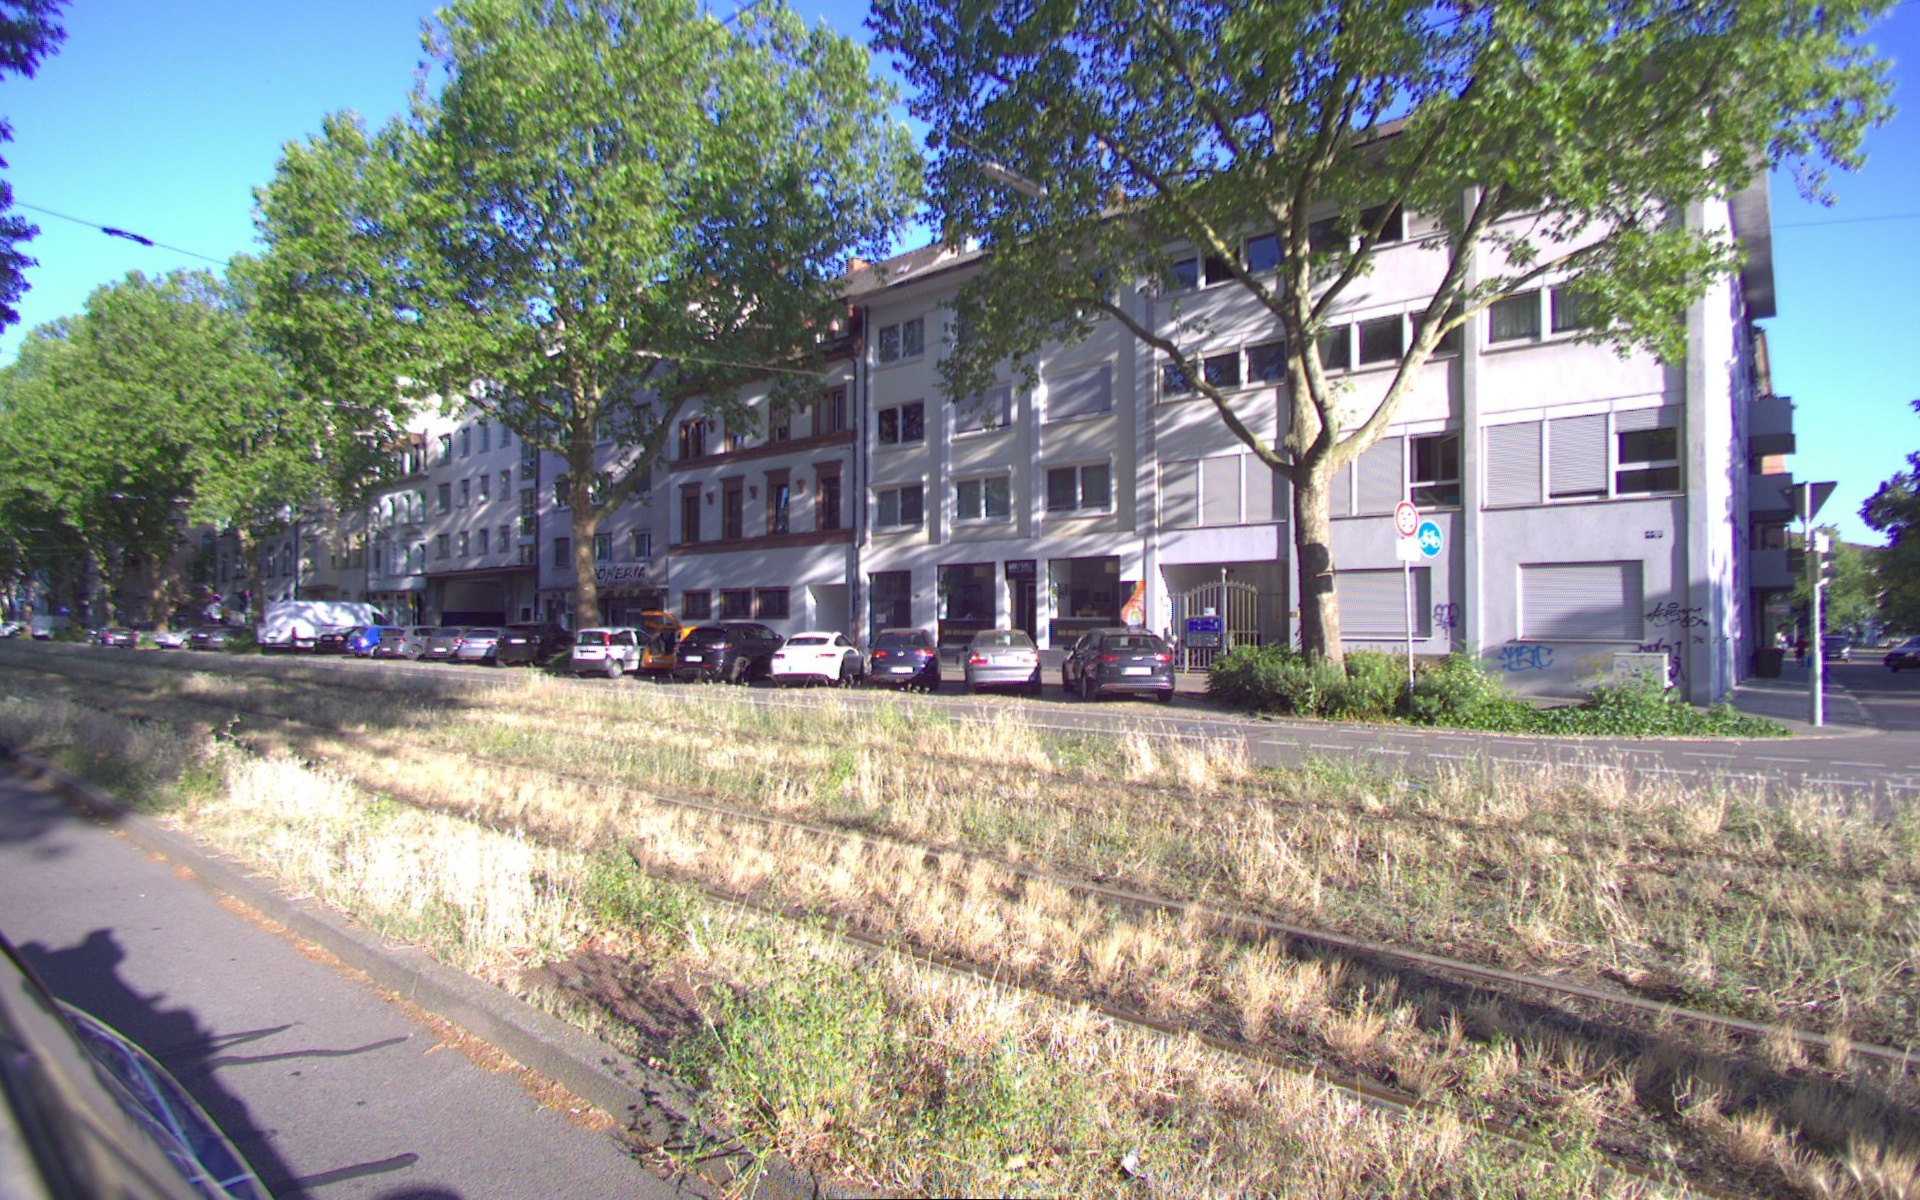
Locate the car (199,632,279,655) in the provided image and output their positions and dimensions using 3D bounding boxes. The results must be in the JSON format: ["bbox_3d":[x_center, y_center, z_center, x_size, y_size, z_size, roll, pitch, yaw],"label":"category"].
[{"bbox_3d":[-43.001,2.602,60.451,1.778,1.368,4.002,0,-3,3],"label":"car"}]

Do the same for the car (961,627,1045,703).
[{"bbox_3d":[0.901,1.418,23.282,1.698,1.452,4.000,-1,0,-1],"label":"car"}]

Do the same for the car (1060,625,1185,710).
[{"bbox_3d":[3.296,1.334,21.292,1.791,1.490,4.002,-1,0,-2],"label":"car"}]

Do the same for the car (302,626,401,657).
[{"bbox_3d":[-30.744,2.079,51.262,1.984,1.502,3.975,-1,-2,18],"label":"car"}]

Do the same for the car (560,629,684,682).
[{"bbox_3d":[-10.461,1.677,31.700,1.643,1.460,4.345,0,-1,14],"label":"car"}]

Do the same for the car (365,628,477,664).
[{"bbox_3d":[-23.601,1.994,44.440,1.941,1.503,3.964,-1,-2,27],"label":"car"}]

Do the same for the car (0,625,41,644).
[{"bbox_3d":[-107.381,3.905,115.160,1.971,2.029,4.002,-1,0,-2],"label":"car"}]

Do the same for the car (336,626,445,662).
[{"bbox_3d":[-25.928,1.972,46.169,1.854,1.431,3.951,-1,0,36],"label":"car"}]

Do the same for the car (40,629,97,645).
[{"bbox_3d":[-86.016,3.563,97.694,1.709,1.256,3.993,-1,1,6],"label":"car"}]

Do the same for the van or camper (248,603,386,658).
[{"bbox_3d":[-33.109,1.565,52.372,2.162,2.666,5.929,-1,-2,19],"label":"van or camper"}]

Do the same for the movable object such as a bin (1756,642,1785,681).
[{"bbox_3d":[27.826,2.108,34.745,0.745,1.315,0.861,-1,-2,39],"label":"movable object such as a bin"}]

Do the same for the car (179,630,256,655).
[{"bbox_3d":[-47.728,2.746,65.180,1.803,1.545,3.994,0,-3,4],"label":"car"}]

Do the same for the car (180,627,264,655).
[{"bbox_3d":[-45.529,2.571,62.552,1.912,1.605,4.155,0,-4,4],"label":"car"}]

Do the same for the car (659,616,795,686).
[{"bbox_3d":[-6.458,1.453,28.610,1.975,1.800,4.343,1,-3,14],"label":"car"}]

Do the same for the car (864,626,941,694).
[{"bbox_3d":[-1.439,1.454,25.686,1.776,1.452,4.002,-1,0,-3],"label":"car"}]

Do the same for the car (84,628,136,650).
[{"bbox_3d":[-56.621,2.607,67.385,4.480,1.400,1.802,-1,-4,40],"label":"car"}]

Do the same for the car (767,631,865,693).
[{"bbox_3d":[-3.693,1.567,26.691,1.700,1.343,4.200,-1,0,4],"label":"car"}]

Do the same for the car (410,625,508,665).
[{"bbox_3d":[-20.538,1.819,41.673,1.735,1.433,3.993,-1,0,6],"label":"car"}]

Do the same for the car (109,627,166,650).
[{"bbox_3d":[-63.509,2.987,78.212,1.703,1.666,4.008,0,-2,-10],"label":"car"}]

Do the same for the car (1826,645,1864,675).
[{"bbox_3d":[63.361,4.280,72.471,1.999,2.029,3.945,-1,-2,41],"label":"car"}]

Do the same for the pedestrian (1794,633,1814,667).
[{"bbox_3d":[44.196,2.589,52.990,0.686,1.764,0.636,-1,-2,31],"label":"pedestrian"}]

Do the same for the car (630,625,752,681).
[{"bbox_3d":[-8.360,1.610,31.798,1.764,1.490,3.974,-1,0,20],"label":"car"}]

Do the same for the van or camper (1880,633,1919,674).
[{"bbox_3d":[49.621,2.656,50.719,5.065,2.029,1.999,0,-2,2],"label":"van or camper"}]

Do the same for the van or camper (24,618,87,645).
[{"bbox_3d":[-88.322,3.026,98.897,2.171,2.418,4.364,-1,1,0],"label":"van or camper"}]

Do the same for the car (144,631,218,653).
[{"bbox_3d":[-51.785,2.787,67.346,1.806,1.400,3.670,0,-2,9],"label":"car"}]

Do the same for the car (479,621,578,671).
[{"bbox_3d":[-15.681,1.639,37.022,1.972,1.673,4.000,-1,-1,-1],"label":"car"}]

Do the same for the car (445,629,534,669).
[{"bbox_3d":[-18.296,1.866,39.553,1.883,1.396,4.004,-1,-1,-5],"label":"car"}]
